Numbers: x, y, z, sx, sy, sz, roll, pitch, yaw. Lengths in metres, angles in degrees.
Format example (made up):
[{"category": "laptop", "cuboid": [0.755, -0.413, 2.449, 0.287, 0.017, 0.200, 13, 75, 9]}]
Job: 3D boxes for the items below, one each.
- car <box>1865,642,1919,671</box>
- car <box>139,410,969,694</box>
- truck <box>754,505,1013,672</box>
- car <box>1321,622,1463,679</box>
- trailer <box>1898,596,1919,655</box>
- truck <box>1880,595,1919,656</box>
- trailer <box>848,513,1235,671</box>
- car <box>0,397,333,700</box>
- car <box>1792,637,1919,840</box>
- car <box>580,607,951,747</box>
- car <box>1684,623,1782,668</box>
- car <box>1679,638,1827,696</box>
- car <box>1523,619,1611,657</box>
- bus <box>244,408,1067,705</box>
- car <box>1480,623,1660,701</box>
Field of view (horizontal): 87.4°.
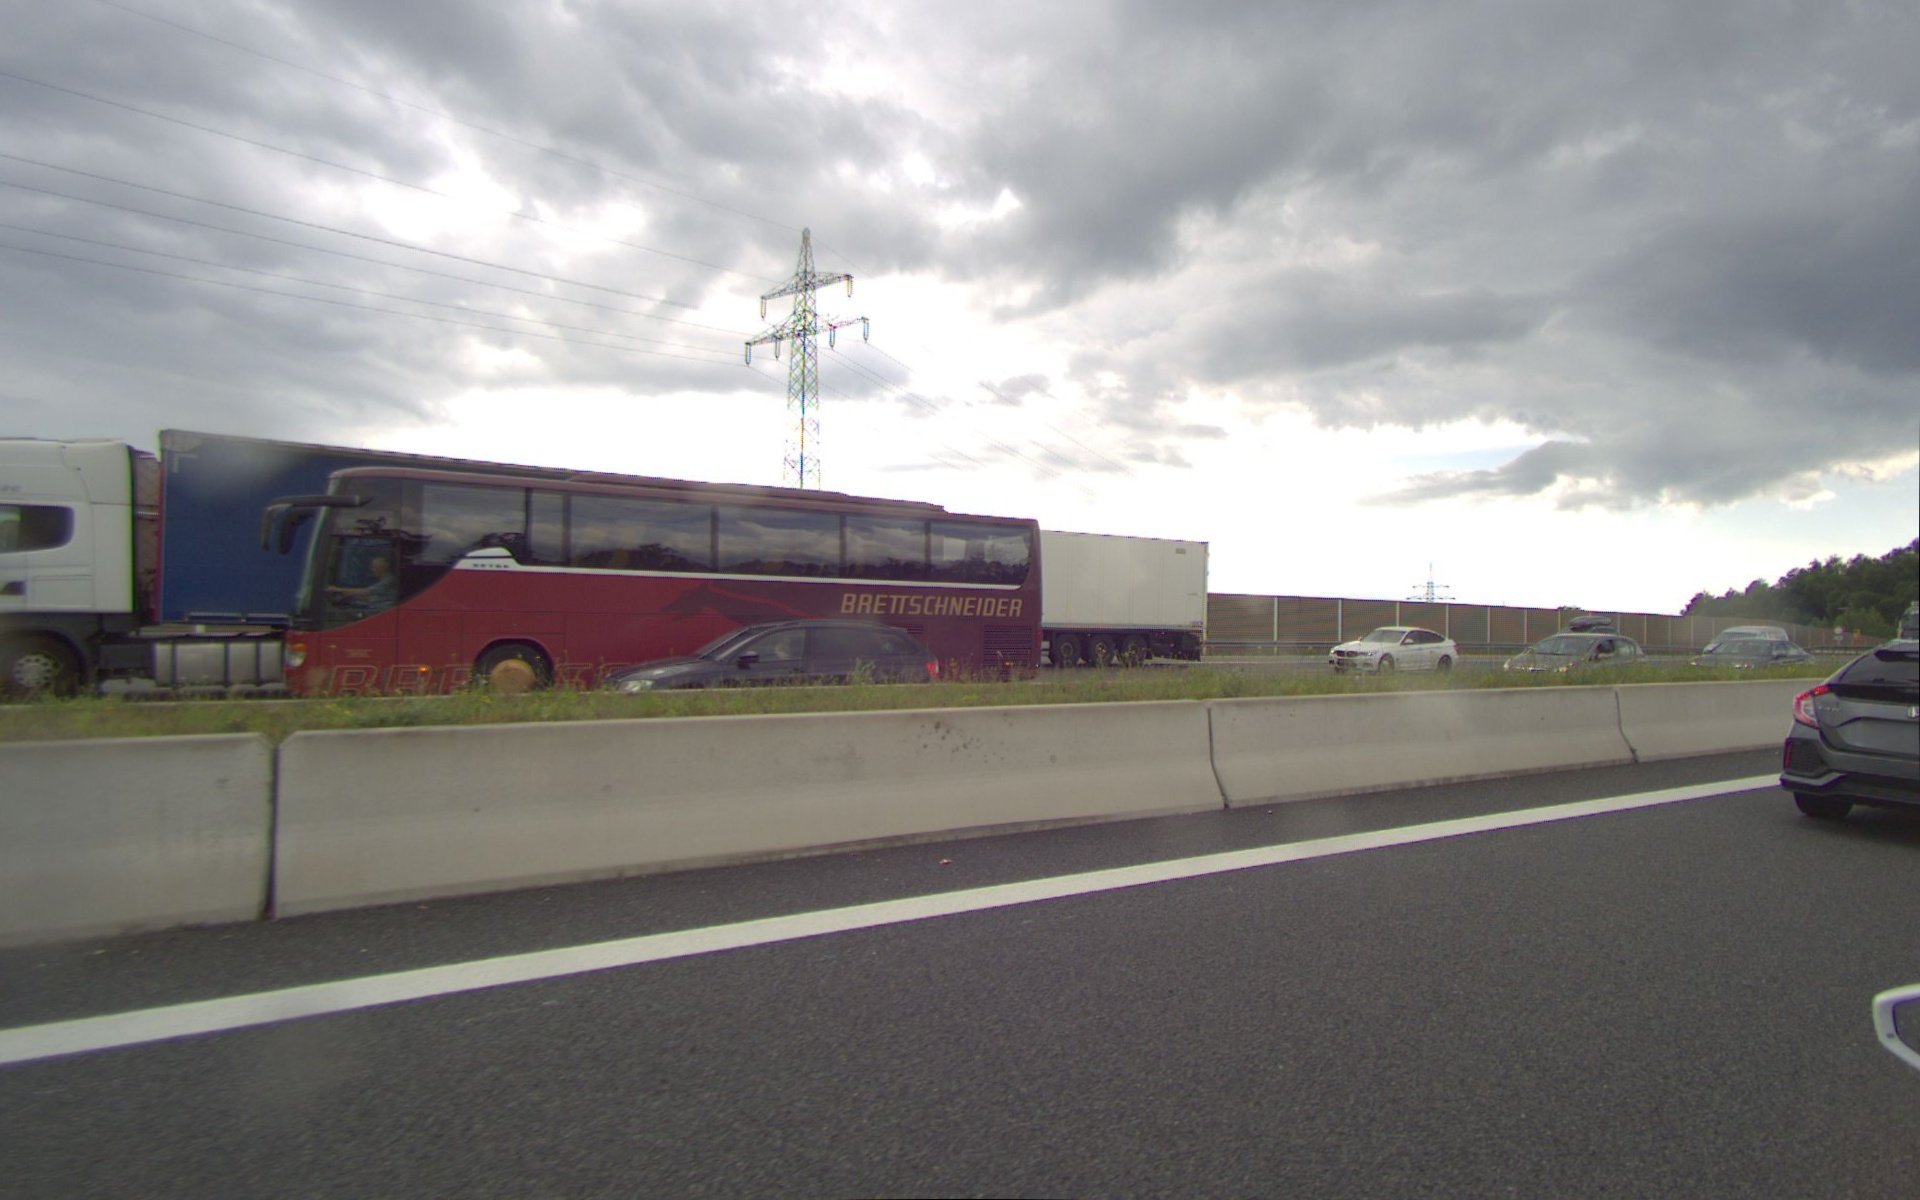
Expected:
[{"category": "car", "cuboid": [50.048, 2.959, 53.213, 4.805, 1.400, 1.778, 2, 0, -31]}, {"category": "car", "cuboid": [-6.689, -0.559, 19.735, 14.231, 4.179, 2.967, 2, 1, -31]}, {"category": "truck", "cuboid": [-2.077, -0.237, 28.011, 6.547, 4.171, 2.885, 2, 1, -31]}, {"category": "car", "cuboid": [13.639, 1.557, 31.630, 4.530, 1.612, 1.778, 2, 1, -31]}, {"category": "trailer", "cuboid": [70.854, 1.900, 70.926, 12.818, 3.985, 3.016, 2, -1, -29]}, {"category": "truck", "cuboid": [65.973, 1.773, 68.164, 7.617, 3.985, 3.016, 2, -1, -29]}, {"category": "trailer", "cuboid": [2.914, -0.093, 31.065, 12.554, 4.171, 2.885, 2, 1, -31]}, {"category": "car", "cuboid": [-13.388, -0.718, 15.650, 5.973, 4.205, 2.967, 2, 1, -31]}, {"category": "car", "cuboid": [8.958, 1.037, 8.211, 5.002, 1.387, 1.752, 1, 0, -31]}, {"category": "car", "cuboid": [-2.512, 0.935, 13.373, 4.513, 1.554, 1.778, 2, 0, -31]}, {"category": "car", "cuboid": [33.237, 1.951, 43.162, 4.526, 1.763, 1.781, 2, 1, -31]}, {"category": "car", "cuboid": [22.573, 1.853, 28.533, 4.805, 1.445, 1.707, 2, 0, -31]}, {"category": "car", "cuboid": [27.444, 1.714, 45.376, 3.910, 1.619, 1.778, 2, 1, -31]}, {"category": "bus", "cuboid": [-4.141, -0.409, 16.934, 12.614, 3.659, 2.875, 2, 1, -31]}, {"category": "car", "cuboid": [13.747, 1.352, 22.575, 4.165, 1.544, 1.707, 2, 1, -31]}]
